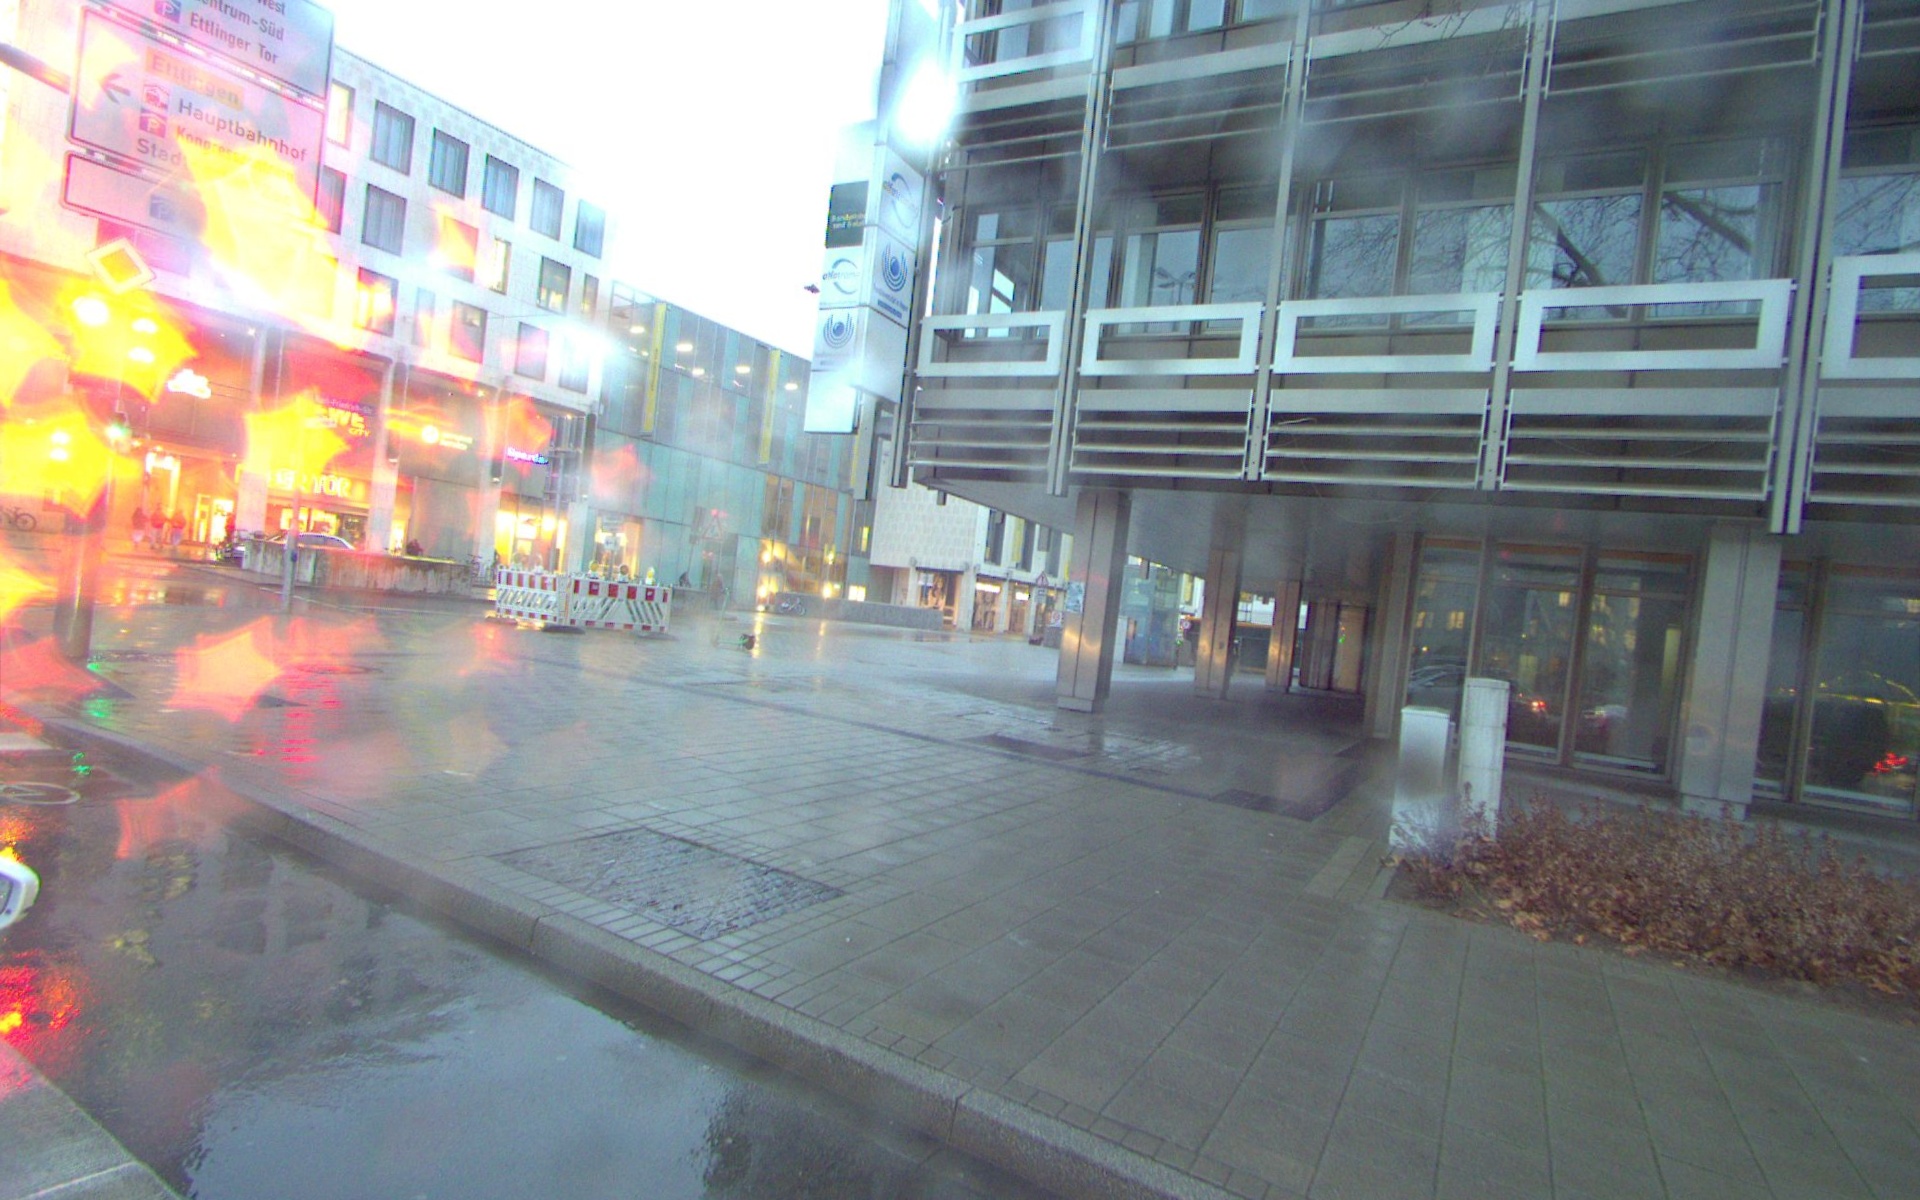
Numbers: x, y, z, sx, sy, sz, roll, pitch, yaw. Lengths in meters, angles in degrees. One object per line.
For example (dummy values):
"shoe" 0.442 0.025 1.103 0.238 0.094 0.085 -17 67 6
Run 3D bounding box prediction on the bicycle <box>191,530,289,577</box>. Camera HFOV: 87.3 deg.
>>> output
"bicycle" -26.343 -1.686 36.876 0.941 1.375 2.718 6 -1 28

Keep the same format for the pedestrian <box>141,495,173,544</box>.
"pedestrian" -36.192 -3.629 45.336 0.688 2.039 0.845 7 1 40

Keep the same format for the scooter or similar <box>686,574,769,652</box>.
"scooter or similar" -4.676 0.260 20.228 1.470 1.368 0.593 7 -1 32

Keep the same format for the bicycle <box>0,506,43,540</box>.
"bicycle" -36.418 -2.984 38.604 0.515 1.082 1.651 7 -2 28

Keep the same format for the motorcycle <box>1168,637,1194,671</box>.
"motorcycle" 9.710 2.375 44.196 0.584 1.368 1.493 7 -1 29

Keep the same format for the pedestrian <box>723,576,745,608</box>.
"pedestrian" -13.053 -0.460 58.057 0.770 1.703 0.742 6 -1 38

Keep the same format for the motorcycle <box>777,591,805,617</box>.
"motorcycle" -10.248 0.275 61.035 0.585 1.368 1.491 7 -1 36

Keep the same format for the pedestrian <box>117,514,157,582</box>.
"pedestrian" -31.303 -1.981 38.271 0.745 2.469 0.716 7 -1 31

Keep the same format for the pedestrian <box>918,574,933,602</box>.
"pedestrian" -2.214 -0.774 64.082 0.573 1.703 0.542 6 -1 38

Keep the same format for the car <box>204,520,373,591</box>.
"car" -21.730 -1.412 32.706 1.968 1.636 3.994 6 -2 33

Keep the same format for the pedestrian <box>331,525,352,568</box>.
"pedestrian" -27.878 -2.415 45.350 0.355 1.849 0.551 6 1 32

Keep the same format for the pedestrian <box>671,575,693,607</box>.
"pedestrian" -16.268 -0.534 58.875 0.770 1.703 0.742 6 -1 38

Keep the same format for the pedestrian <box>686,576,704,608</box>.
"pedestrian" -15.021 -0.440 57.070 0.573 1.703 0.542 6 -1 38

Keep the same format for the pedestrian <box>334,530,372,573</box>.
"pedestrian" -26.962 -2.158 44.696 0.810 1.703 1.032 6 -1 31

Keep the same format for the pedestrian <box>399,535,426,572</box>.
"pedestrian" -26.559 -2.252 48.798 0.519 1.705 0.894 6 0 31

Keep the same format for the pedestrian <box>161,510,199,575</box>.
"pedestrian" -30.974 -2.287 39.952 0.778 2.477 0.694 7 -1 32

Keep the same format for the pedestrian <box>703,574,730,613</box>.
"pedestrian" -11.555 -0.300 47.795 0.770 1.703 0.742 6 -1 38

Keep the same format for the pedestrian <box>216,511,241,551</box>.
"pedestrian" -33.583 -3.154 46.192 0.729 1.740 0.733 6 1 -31

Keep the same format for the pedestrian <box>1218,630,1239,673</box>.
"pedestrian" 11.727 2.261 43.876 0.678 1.796 0.660 7 -1 16

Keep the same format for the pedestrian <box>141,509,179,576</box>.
"pedestrian" -31.017 -2.223 39.014 0.745 2.469 0.691 7 -1 31

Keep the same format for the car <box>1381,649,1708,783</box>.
"car" 8.709 1.645 15.237 3.935 1.327 1.994 6 1 33
